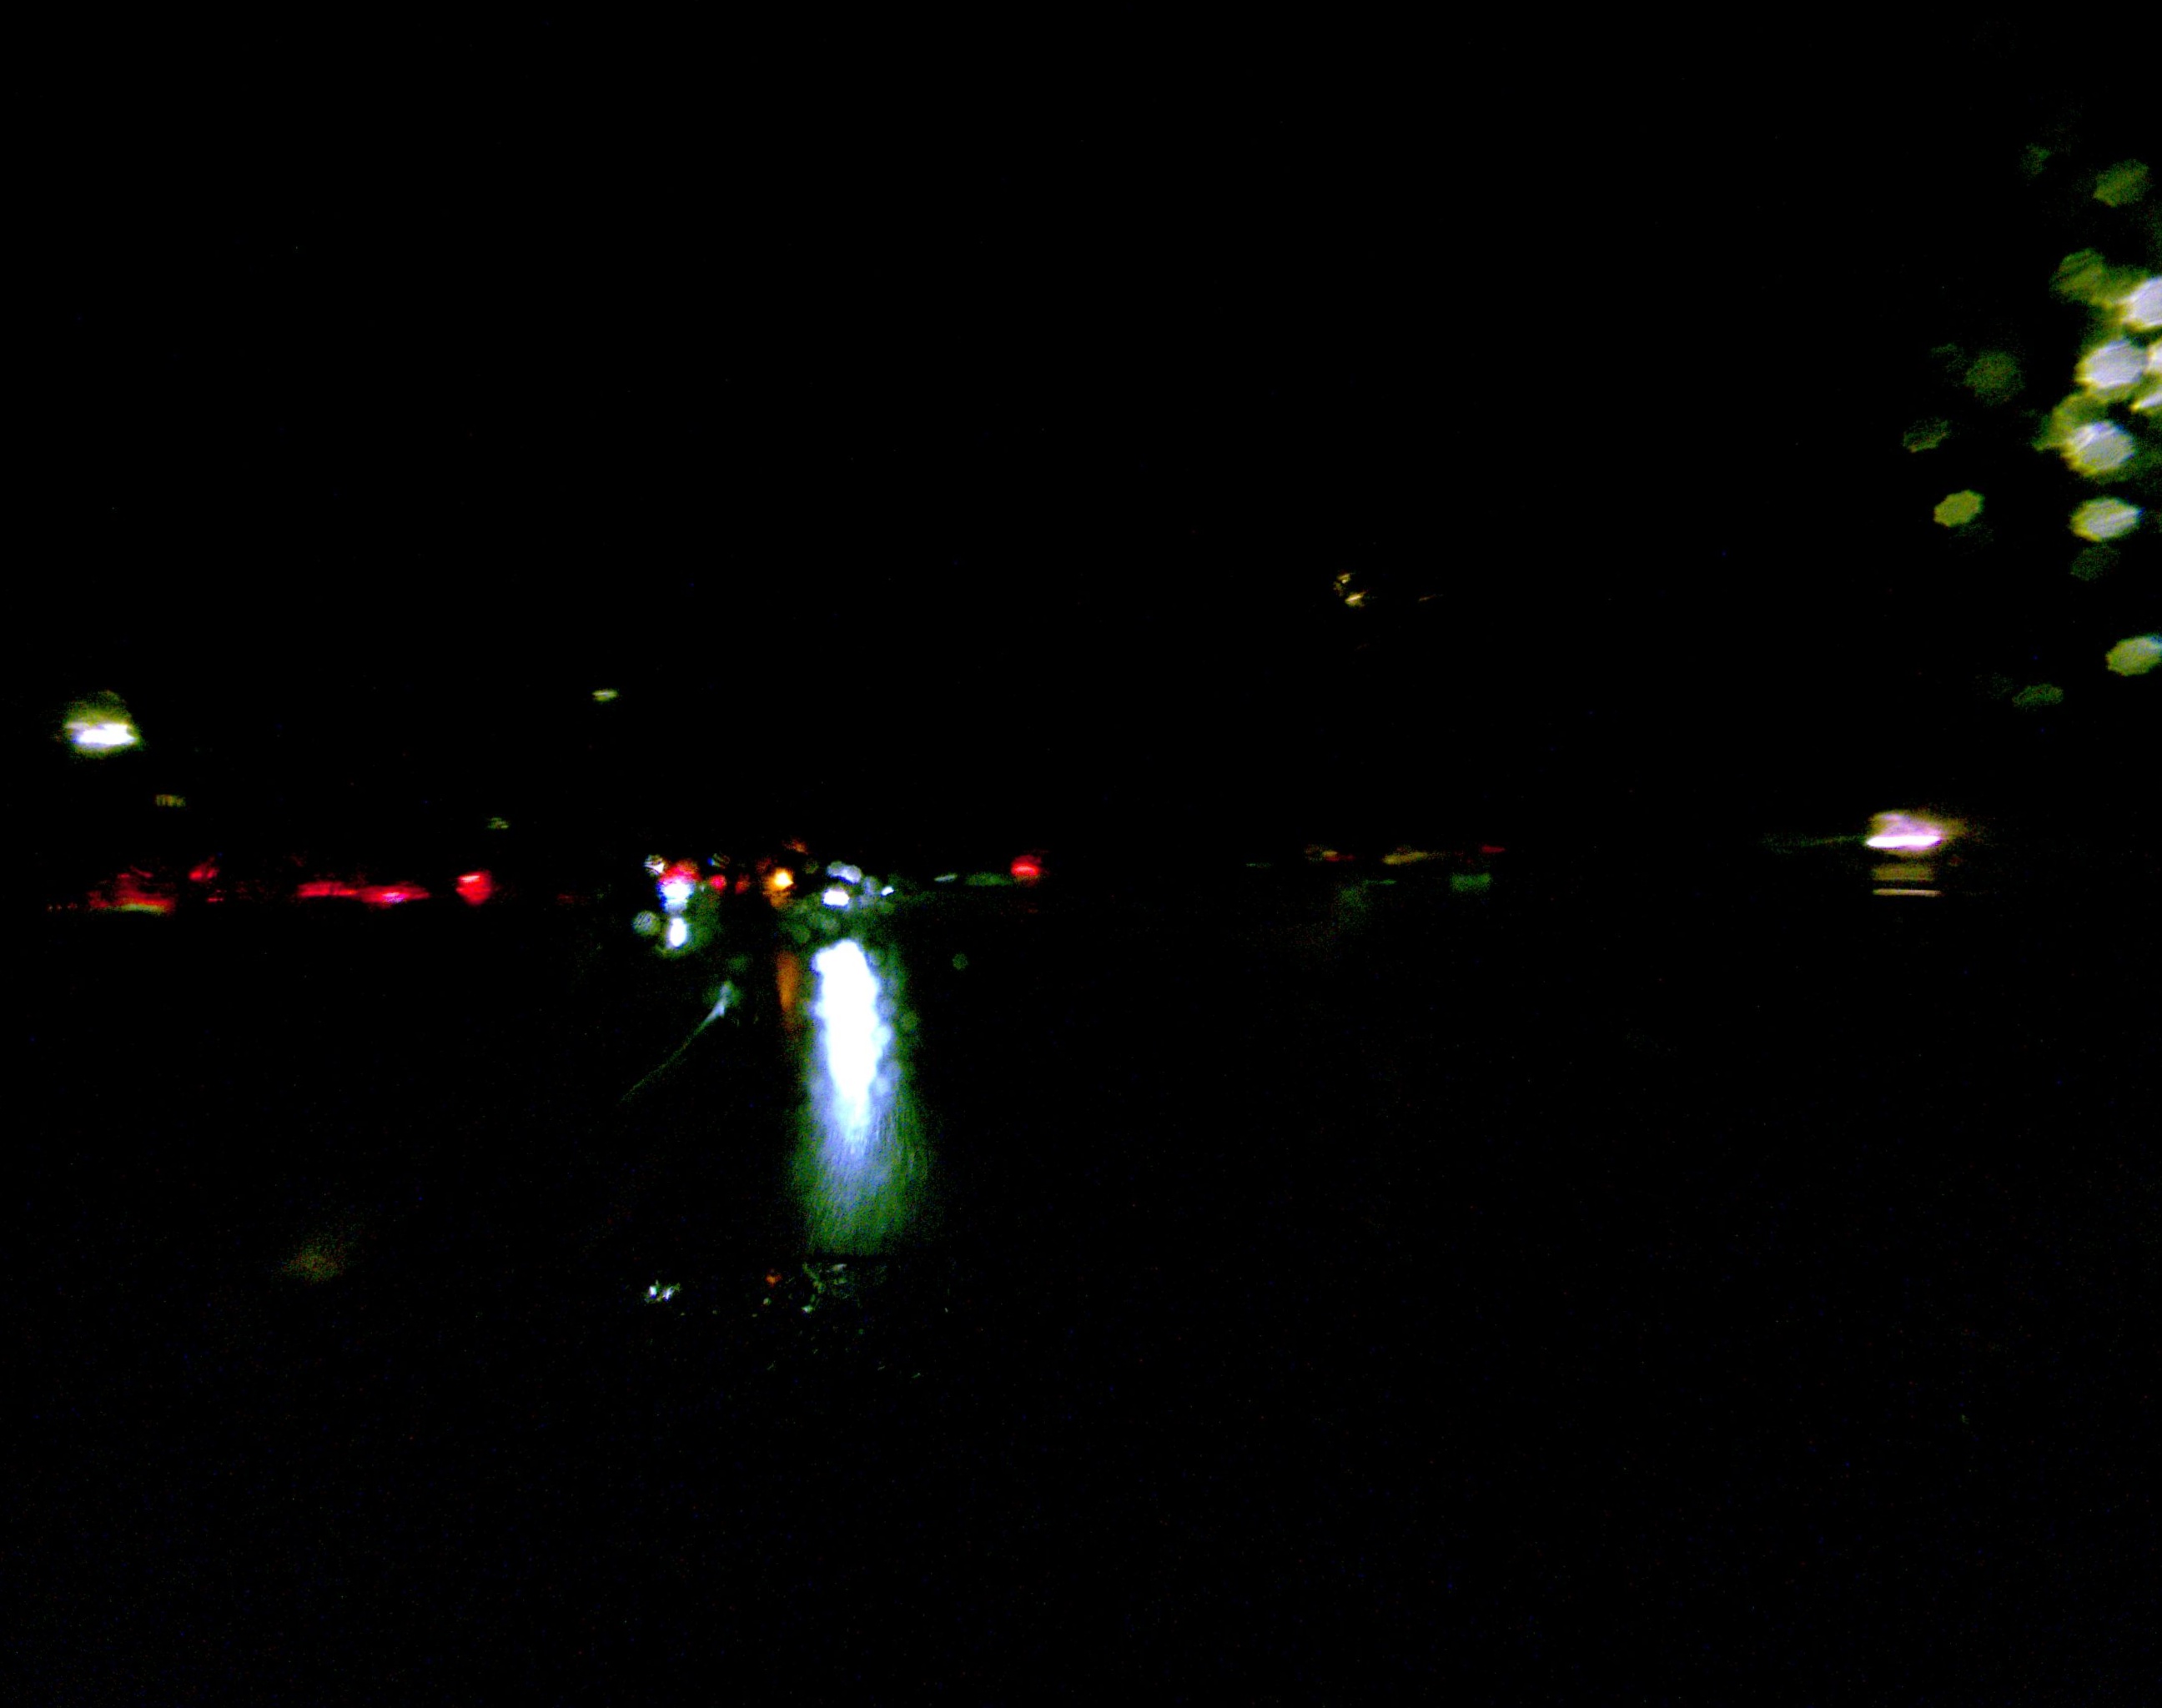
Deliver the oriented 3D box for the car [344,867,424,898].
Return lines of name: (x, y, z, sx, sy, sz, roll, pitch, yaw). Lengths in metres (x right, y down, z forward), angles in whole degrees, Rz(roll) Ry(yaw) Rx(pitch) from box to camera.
car: (-44.266, 1.807, 48.275, 4.116, 1.837, 1.767, -1, 1, 15)

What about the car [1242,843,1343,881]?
car: (9.233, 0.325, 33.275, 4.088, 1.448, 1.856, -2, 1, 16)

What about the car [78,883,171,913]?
car: (-55.654, 2.549, 44.224, 4.403, 1.475, 1.784, -2, 1, 17)

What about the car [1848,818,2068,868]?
car: (28.158, -0.331, 24.564, 4.445, 1.351, 1.653, -3, 1, 17)

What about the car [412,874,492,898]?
car: (-38.529, 1.936, 46.561, 4.032, 1.369, 1.767, -1, 1, 15)

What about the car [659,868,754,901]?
car: (-20.245, 1.635, 41.099, 4.423, 1.522, 1.891, -2, 1, 16)

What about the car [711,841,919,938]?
car: (-6.076, 0.783, 17.262, 4.358, 1.914, 2.008, -2, 1, 31)

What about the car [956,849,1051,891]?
car: (-3.779, 0.779, 37.219, 4.197, 1.881, 1.770, -2, 1, 16)

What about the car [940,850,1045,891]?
car: (-3.946, 0.735, 33.955, 4.235, 1.599, 1.789, -2, 1, 15)

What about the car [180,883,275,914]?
car: (-48.592, 2.533, 43.268, 4.298, 1.568, 1.821, -2, 0, 15)

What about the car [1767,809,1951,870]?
car: (28.624, -0.526, 28.137, 4.344, 2.005, 1.897, -2, 1, 18)

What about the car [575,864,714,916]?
car: (-15.667, 1.288, 27.346, 4.129, 1.640, 1.833, -2, 1, 13)

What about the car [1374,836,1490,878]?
car: (13.367, 0.113, 29.154, 3.812, 1.440, 1.672, -2, 1, 16)

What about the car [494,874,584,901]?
car: (-31.929, 1.946, 44.754, 4.524, 1.529, 1.861, -1, -2, 15)

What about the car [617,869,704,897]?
car: (-21.123, 1.461, 38.218, 3.608, 1.196, 1.650, -2, 1, 15)
